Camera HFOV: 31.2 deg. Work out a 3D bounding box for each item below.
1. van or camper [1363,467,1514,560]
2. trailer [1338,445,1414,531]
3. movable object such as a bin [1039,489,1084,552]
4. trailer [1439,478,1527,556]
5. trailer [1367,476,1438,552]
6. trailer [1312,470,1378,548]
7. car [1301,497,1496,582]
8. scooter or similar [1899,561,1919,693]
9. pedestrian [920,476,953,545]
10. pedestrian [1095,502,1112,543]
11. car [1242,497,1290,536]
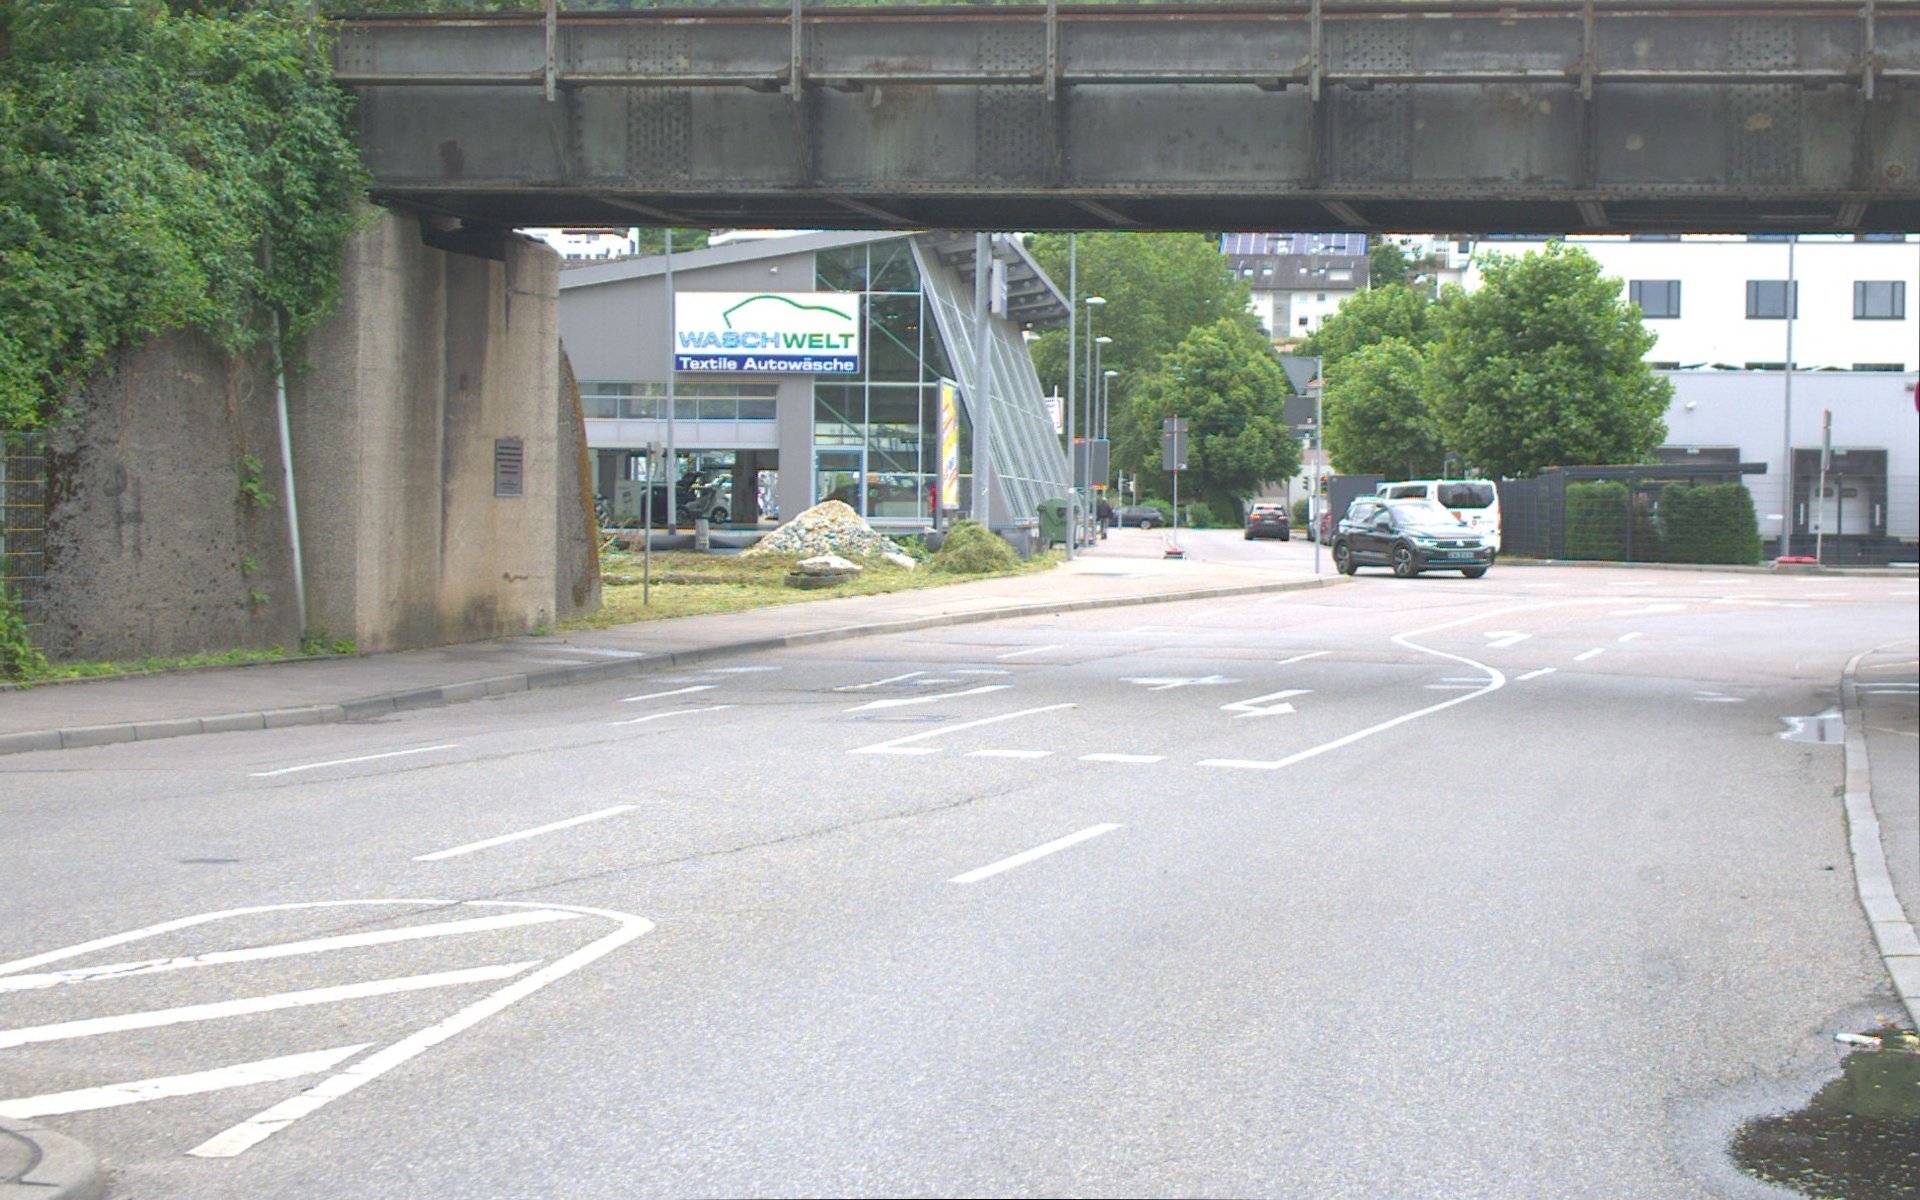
[{"bbox_3d":[11.165,-2.017,80.540,2.098,2.076,4.207,1,1,-13],"label":"van or camper"},{"bbox_3d":[18.756,-5.067,155.262,3.068,3.746,4.934,2,2,4],"label":"trailer"},{"bbox_3d":[2.844,-2.231,96.521,1.143,1.751,1.059,1,1,6],"label":"movable object such as a bin"},{"bbox_3d":[14.172,-2.283,93.346,1.994,2.006,4.000,2,2,4],"label":"trailer"},{"bbox_3d":[14.267,-2.801,111.053,1.994,2.335,4.000,2,2,4],"label":"trailer"},{"bbox_3d":[14.925,-3.552,133.436,2.279,2.943,4.000,2,2,4],"label":"trailer"},{"bbox_3d":[9.102,-1.274,71.653,1.993,1.678,4.372,1,1,-25],"label":"car"},{"bbox_3d":[9.241,0.255,32.013,0.504,1.232,1.670,-3,1,1],"label":"scooter or similar"},{"bbox_3d":[-0.651,-2.453,94.206,0.825,1.861,0.718,0,2,-7],"label":"pedestrian"},{"bbox_3d":[5.785,-3.126,139.022,0.627,1.667,0.758,1,1,1],"label":"pedestrian"},{"bbox_3d":[13.707,-3.700,153.675,1.994,1.678,3.999,1,1,7],"label":"car"}]
